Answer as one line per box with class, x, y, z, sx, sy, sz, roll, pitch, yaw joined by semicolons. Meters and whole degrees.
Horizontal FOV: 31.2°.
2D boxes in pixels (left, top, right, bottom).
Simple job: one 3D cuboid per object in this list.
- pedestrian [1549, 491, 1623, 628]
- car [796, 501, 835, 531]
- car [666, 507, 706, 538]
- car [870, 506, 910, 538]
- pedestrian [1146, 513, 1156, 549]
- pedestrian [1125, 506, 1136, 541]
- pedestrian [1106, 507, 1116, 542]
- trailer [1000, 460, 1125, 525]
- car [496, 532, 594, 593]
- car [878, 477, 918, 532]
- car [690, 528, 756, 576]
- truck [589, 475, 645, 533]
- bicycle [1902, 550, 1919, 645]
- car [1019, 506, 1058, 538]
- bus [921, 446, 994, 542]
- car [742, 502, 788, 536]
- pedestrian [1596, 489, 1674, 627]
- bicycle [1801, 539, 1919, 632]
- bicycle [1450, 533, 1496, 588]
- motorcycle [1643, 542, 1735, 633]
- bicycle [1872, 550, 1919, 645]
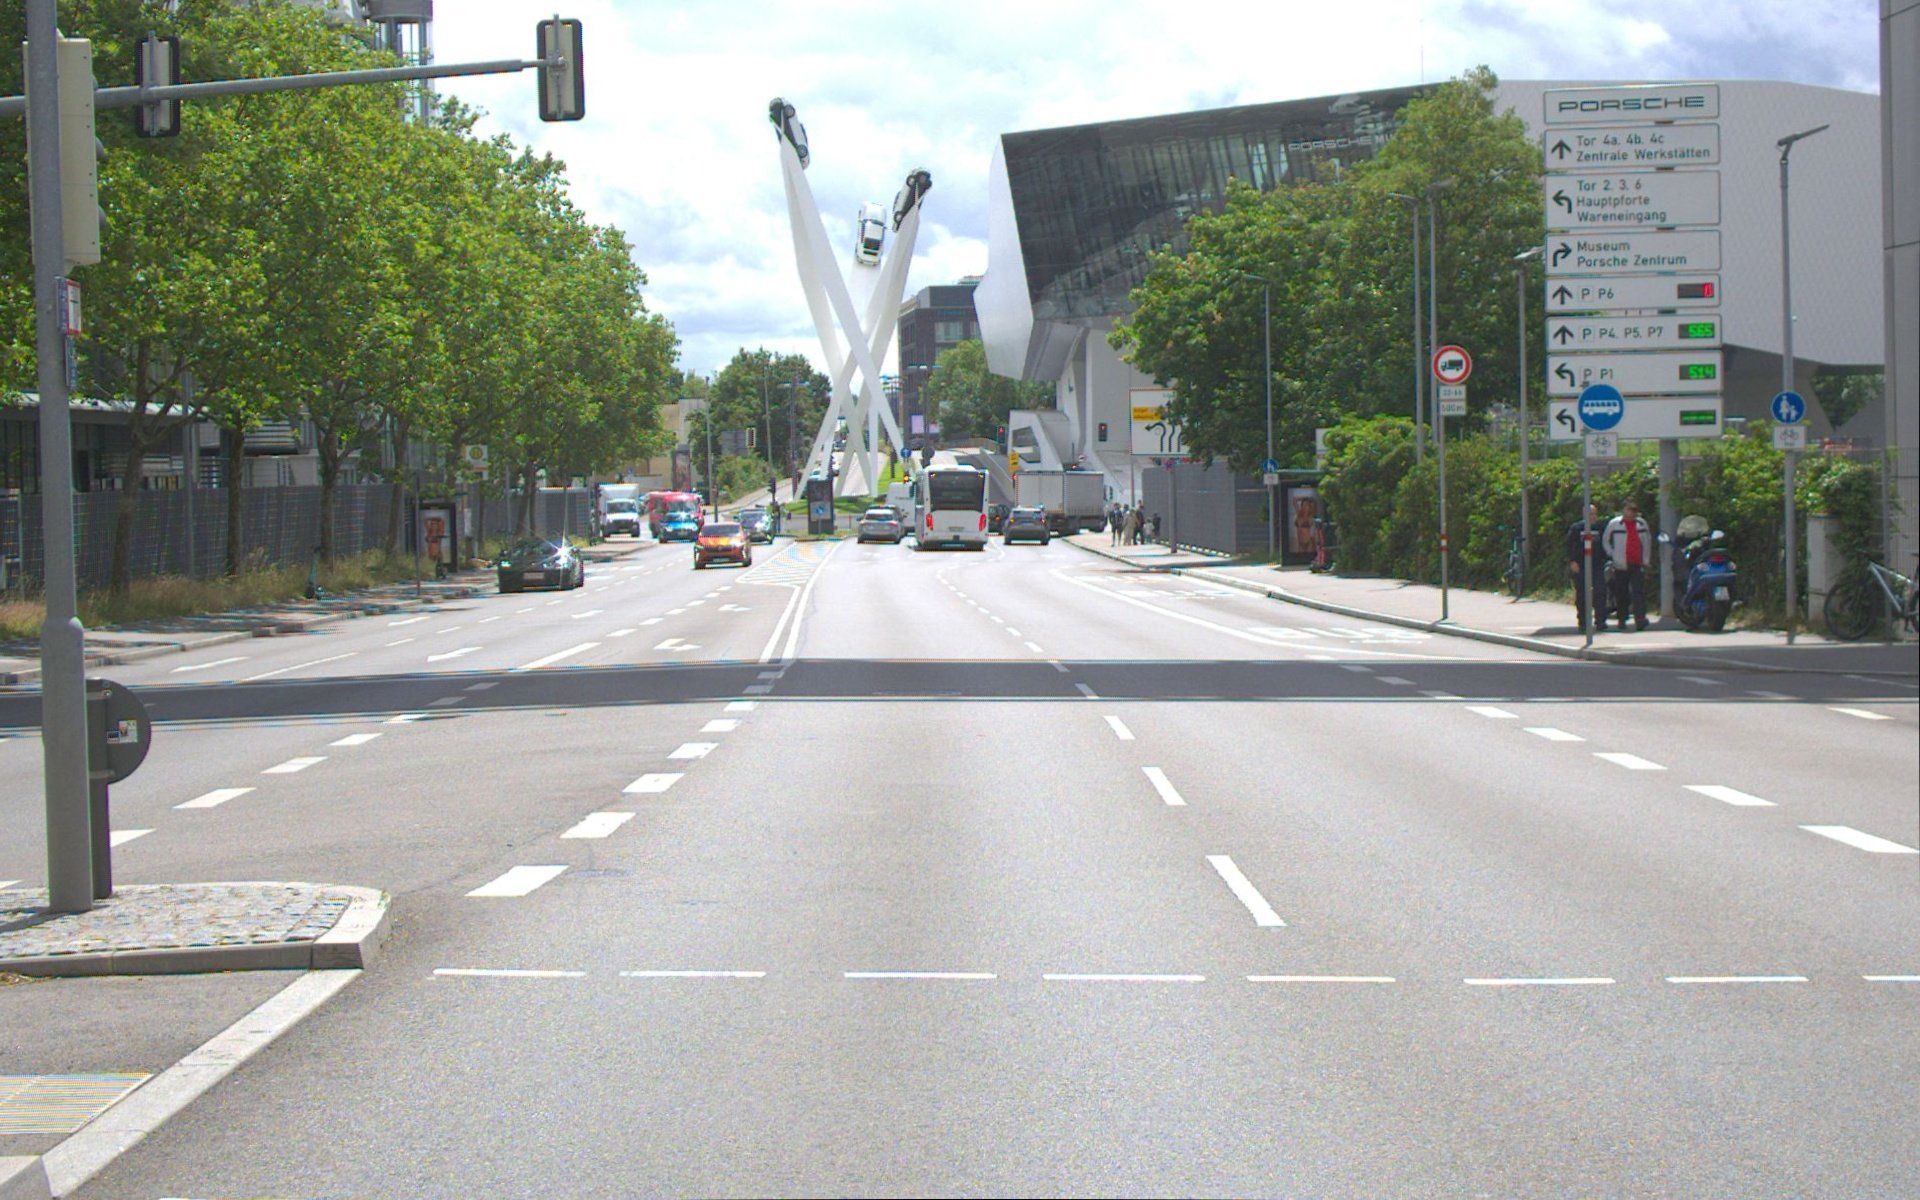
pedestrian;8.341;-0.539;45.833;0.641;1.787;0.712;-3;1;-16
car;-6.513;-3.798;155.251;1.557;1.269;3.701;-3;1;0
car;-13.595;-3.847;170.870;1.797;1.568;4.001;0;1;-2
car;-3.025;-3.368;148.581;1.557;1.269;3.701;-3;1;1
pedestrian;7.702;-2.785;138.545;0.386;1.416;0.423;1;0;0
pedestrian;6.819;-3.056;137.633;0.386;1.416;0.423;1;0;0
pedestrian;6.059;-3.031;137.988;0.386;1.416;0.423;1;0;0
trailer;5.194;-5.335;172.121;3.322;2.984;10.366;1;1;19
car;-10.943;-1.017;90.919;1.917;1.483;4.772;-3;1;0
car;-3.110;-4.749;171.395;1.843;2.614;4.000;1;1;-3
car;-7.529;-1.531;109.613;1.769;1.415;3.701;-3;1;0
truck;-20.334;-5.661;204.085;2.591;3.312;7.079;1;1;0
bicycle;11.787;-0.009;38.788;2.191;1.083;0.476;1;1;35
car;3.327;-3.326;146.172;1.557;1.269;3.701;-3;1;1
bus;-0.088;-4.175;136.990;2.787;3.673;6.943;1;1;0
car;-8.666;-3.582;152.721;1.769;1.415;3.701;-3;1;0
pedestrian;9.014;-0.566;45.915;0.691;1.787;0.712;-3;1;-16
bicycle;11.165;-0.176;40.871;2.222;1.083;0.476;1;1;35
bicycle;9.730;-0.744;65.266;0.418;1.019;1.913;1;1;-5
motorcycle;9.540;-0.166;45.026;0.418;1.162;1.957;1;1;-11
bicycle;11.657;-0.019;39.541;2.222;1.083;0.476;1;1;35
